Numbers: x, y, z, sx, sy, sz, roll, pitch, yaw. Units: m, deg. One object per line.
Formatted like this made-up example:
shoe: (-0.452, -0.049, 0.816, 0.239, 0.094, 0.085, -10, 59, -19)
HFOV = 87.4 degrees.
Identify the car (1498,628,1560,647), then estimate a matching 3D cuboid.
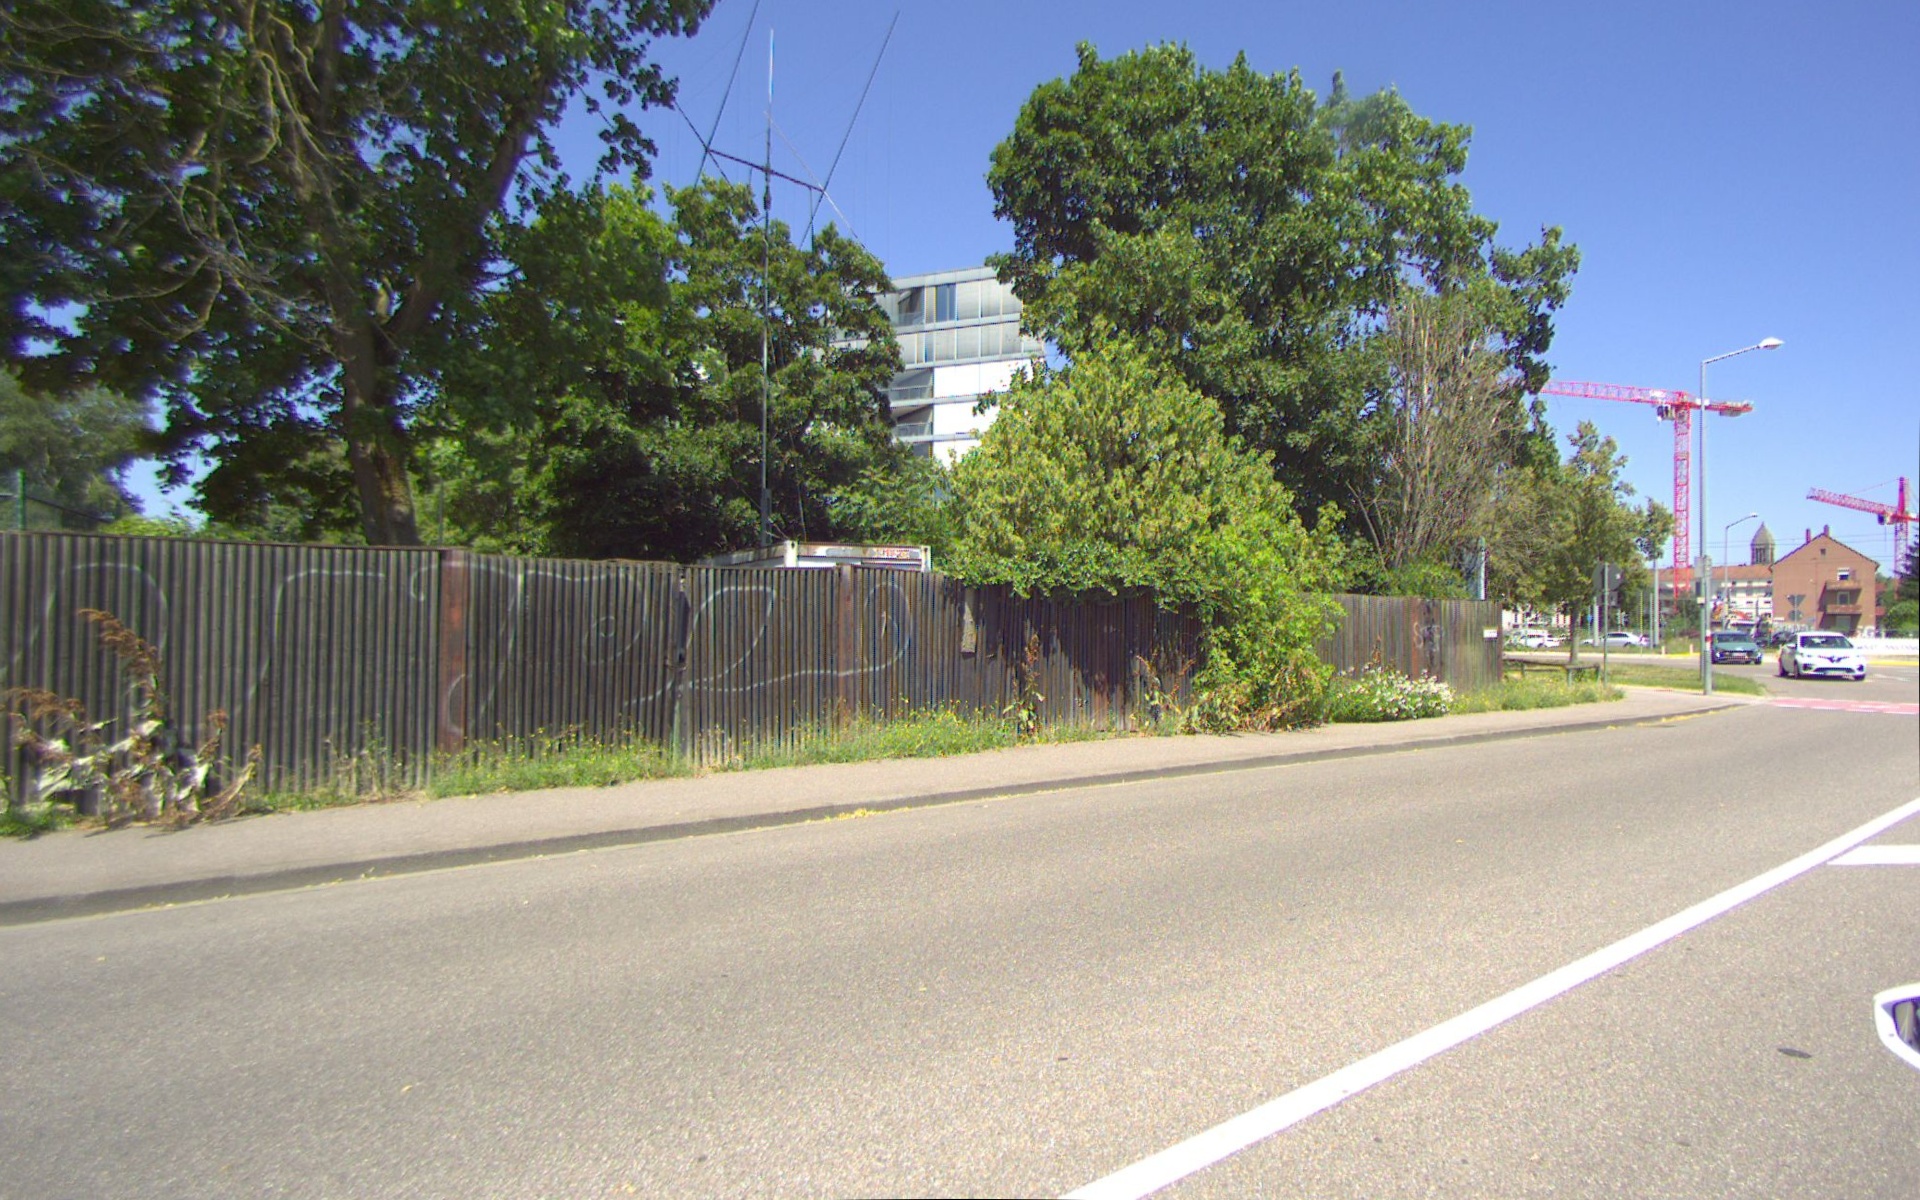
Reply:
car: (48.610, 3.170, 85.848, 1.736, 1.390, 4.286, 2, 0, -36)

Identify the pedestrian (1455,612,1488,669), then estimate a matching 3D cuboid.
pedestrian: (16.683, 1.308, 32.758, 0.625, 1.810, 0.970, 2, 0, 8)

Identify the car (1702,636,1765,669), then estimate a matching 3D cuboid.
car: (35.530, 2.366, 46.097, 1.729, 1.390, 4.304, 2, 0, 45)

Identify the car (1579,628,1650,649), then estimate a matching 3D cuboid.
car: (50.577, 2.979, 77.706, 1.736, 1.390, 4.285, 2, 0, -37)

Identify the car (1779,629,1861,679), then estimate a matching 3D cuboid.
car: (28.606, 1.755, 33.507, 1.752, 1.547, 3.859, -1, -2, 36)
